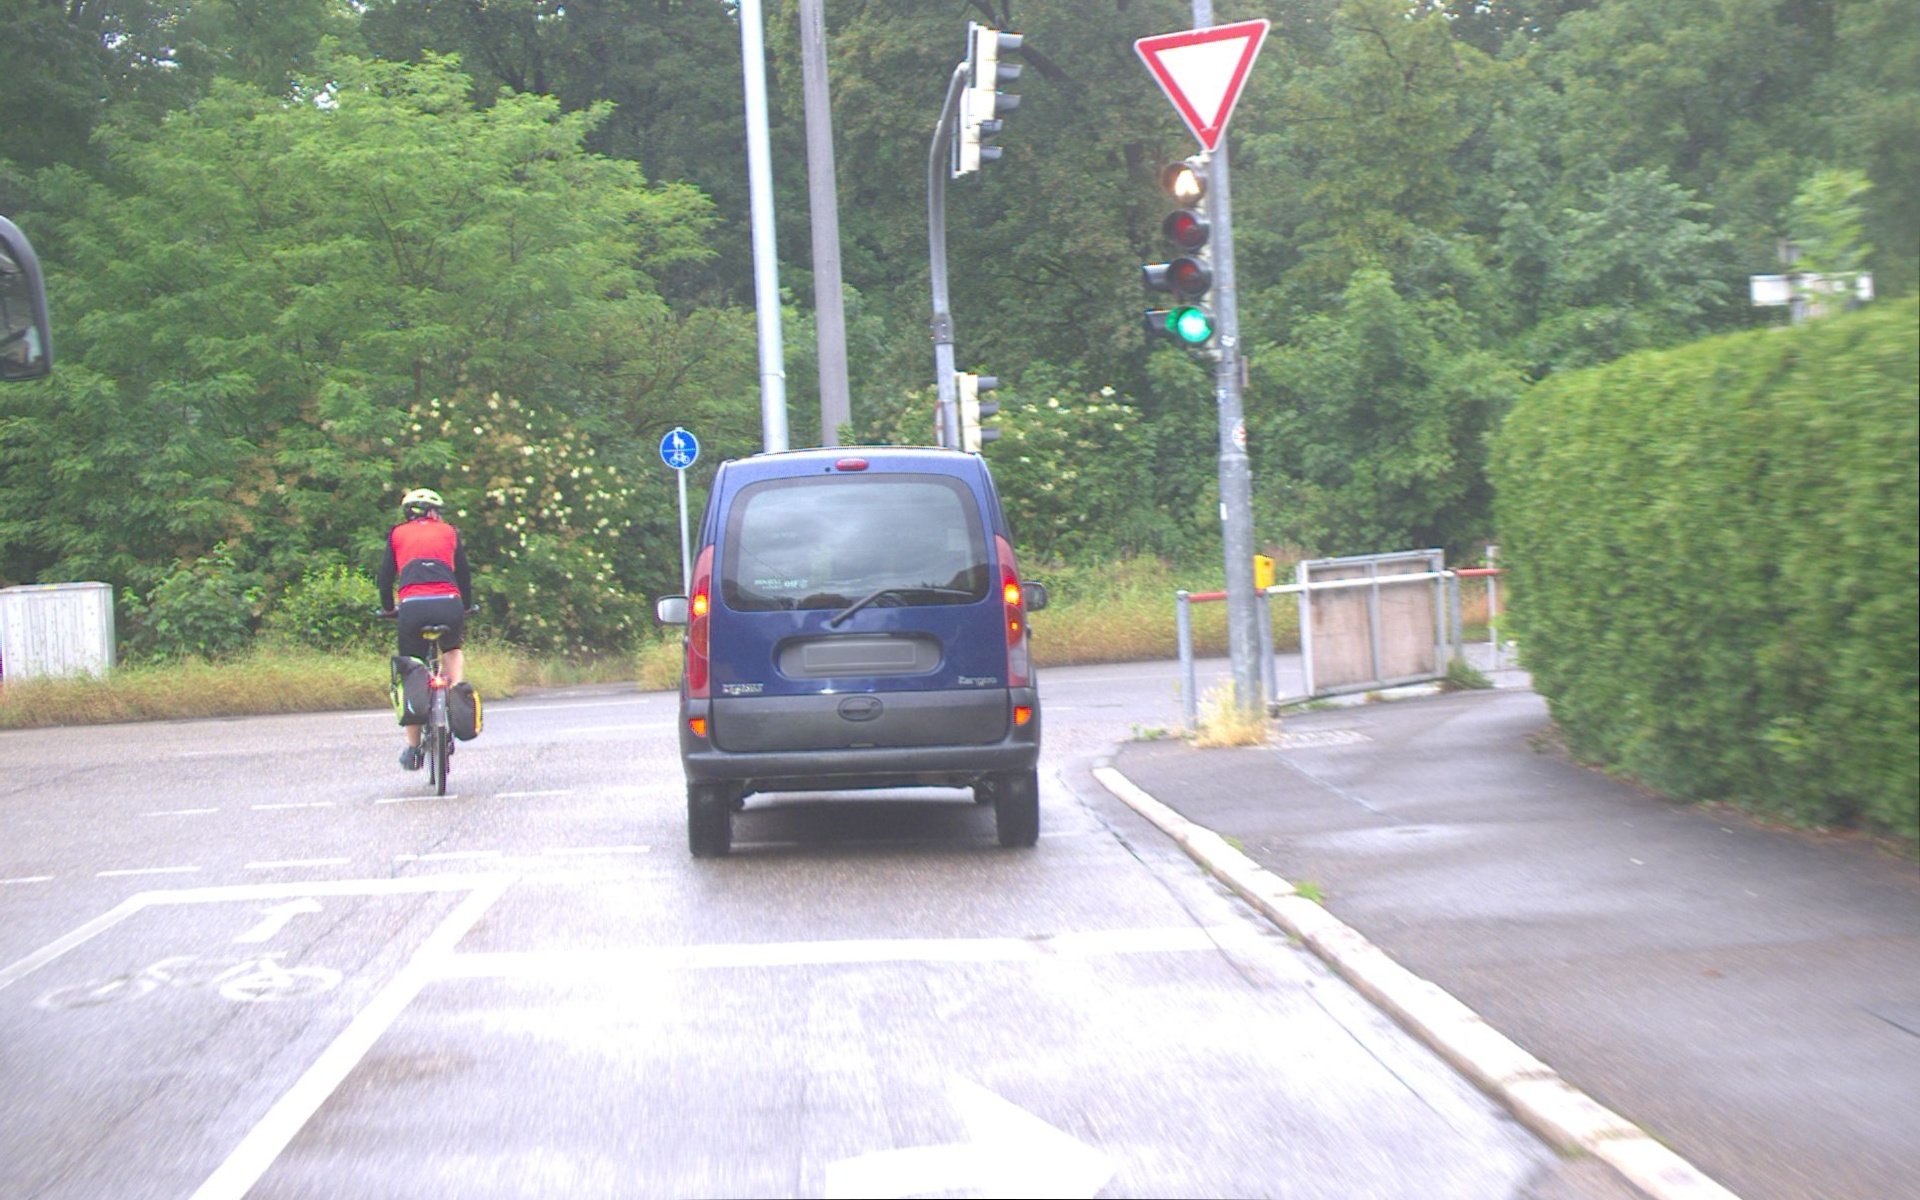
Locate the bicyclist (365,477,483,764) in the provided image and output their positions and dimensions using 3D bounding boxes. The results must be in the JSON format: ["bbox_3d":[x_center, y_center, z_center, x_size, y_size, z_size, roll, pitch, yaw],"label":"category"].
[{"bbox_3d":[-3.187,0.109,20.507,0.578,1.647,1.049,-2,1,-6],"label":"bicyclist"}]

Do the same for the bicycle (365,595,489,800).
[{"bbox_3d":[-3.168,0.548,20.555,0.578,1.092,2.155,-2,2,-6],"label":"bicycle"}]

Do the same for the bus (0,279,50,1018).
[{"bbox_3d":[-4.333,-0.217,6.602,2.899,3.386,9.042,-4,2,-2],"label":"bus"}]

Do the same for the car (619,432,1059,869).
[{"bbox_3d":[-0.695,0.203,16.897,1.808,1.791,4.001,-3,1,-5],"label":"car"}]
